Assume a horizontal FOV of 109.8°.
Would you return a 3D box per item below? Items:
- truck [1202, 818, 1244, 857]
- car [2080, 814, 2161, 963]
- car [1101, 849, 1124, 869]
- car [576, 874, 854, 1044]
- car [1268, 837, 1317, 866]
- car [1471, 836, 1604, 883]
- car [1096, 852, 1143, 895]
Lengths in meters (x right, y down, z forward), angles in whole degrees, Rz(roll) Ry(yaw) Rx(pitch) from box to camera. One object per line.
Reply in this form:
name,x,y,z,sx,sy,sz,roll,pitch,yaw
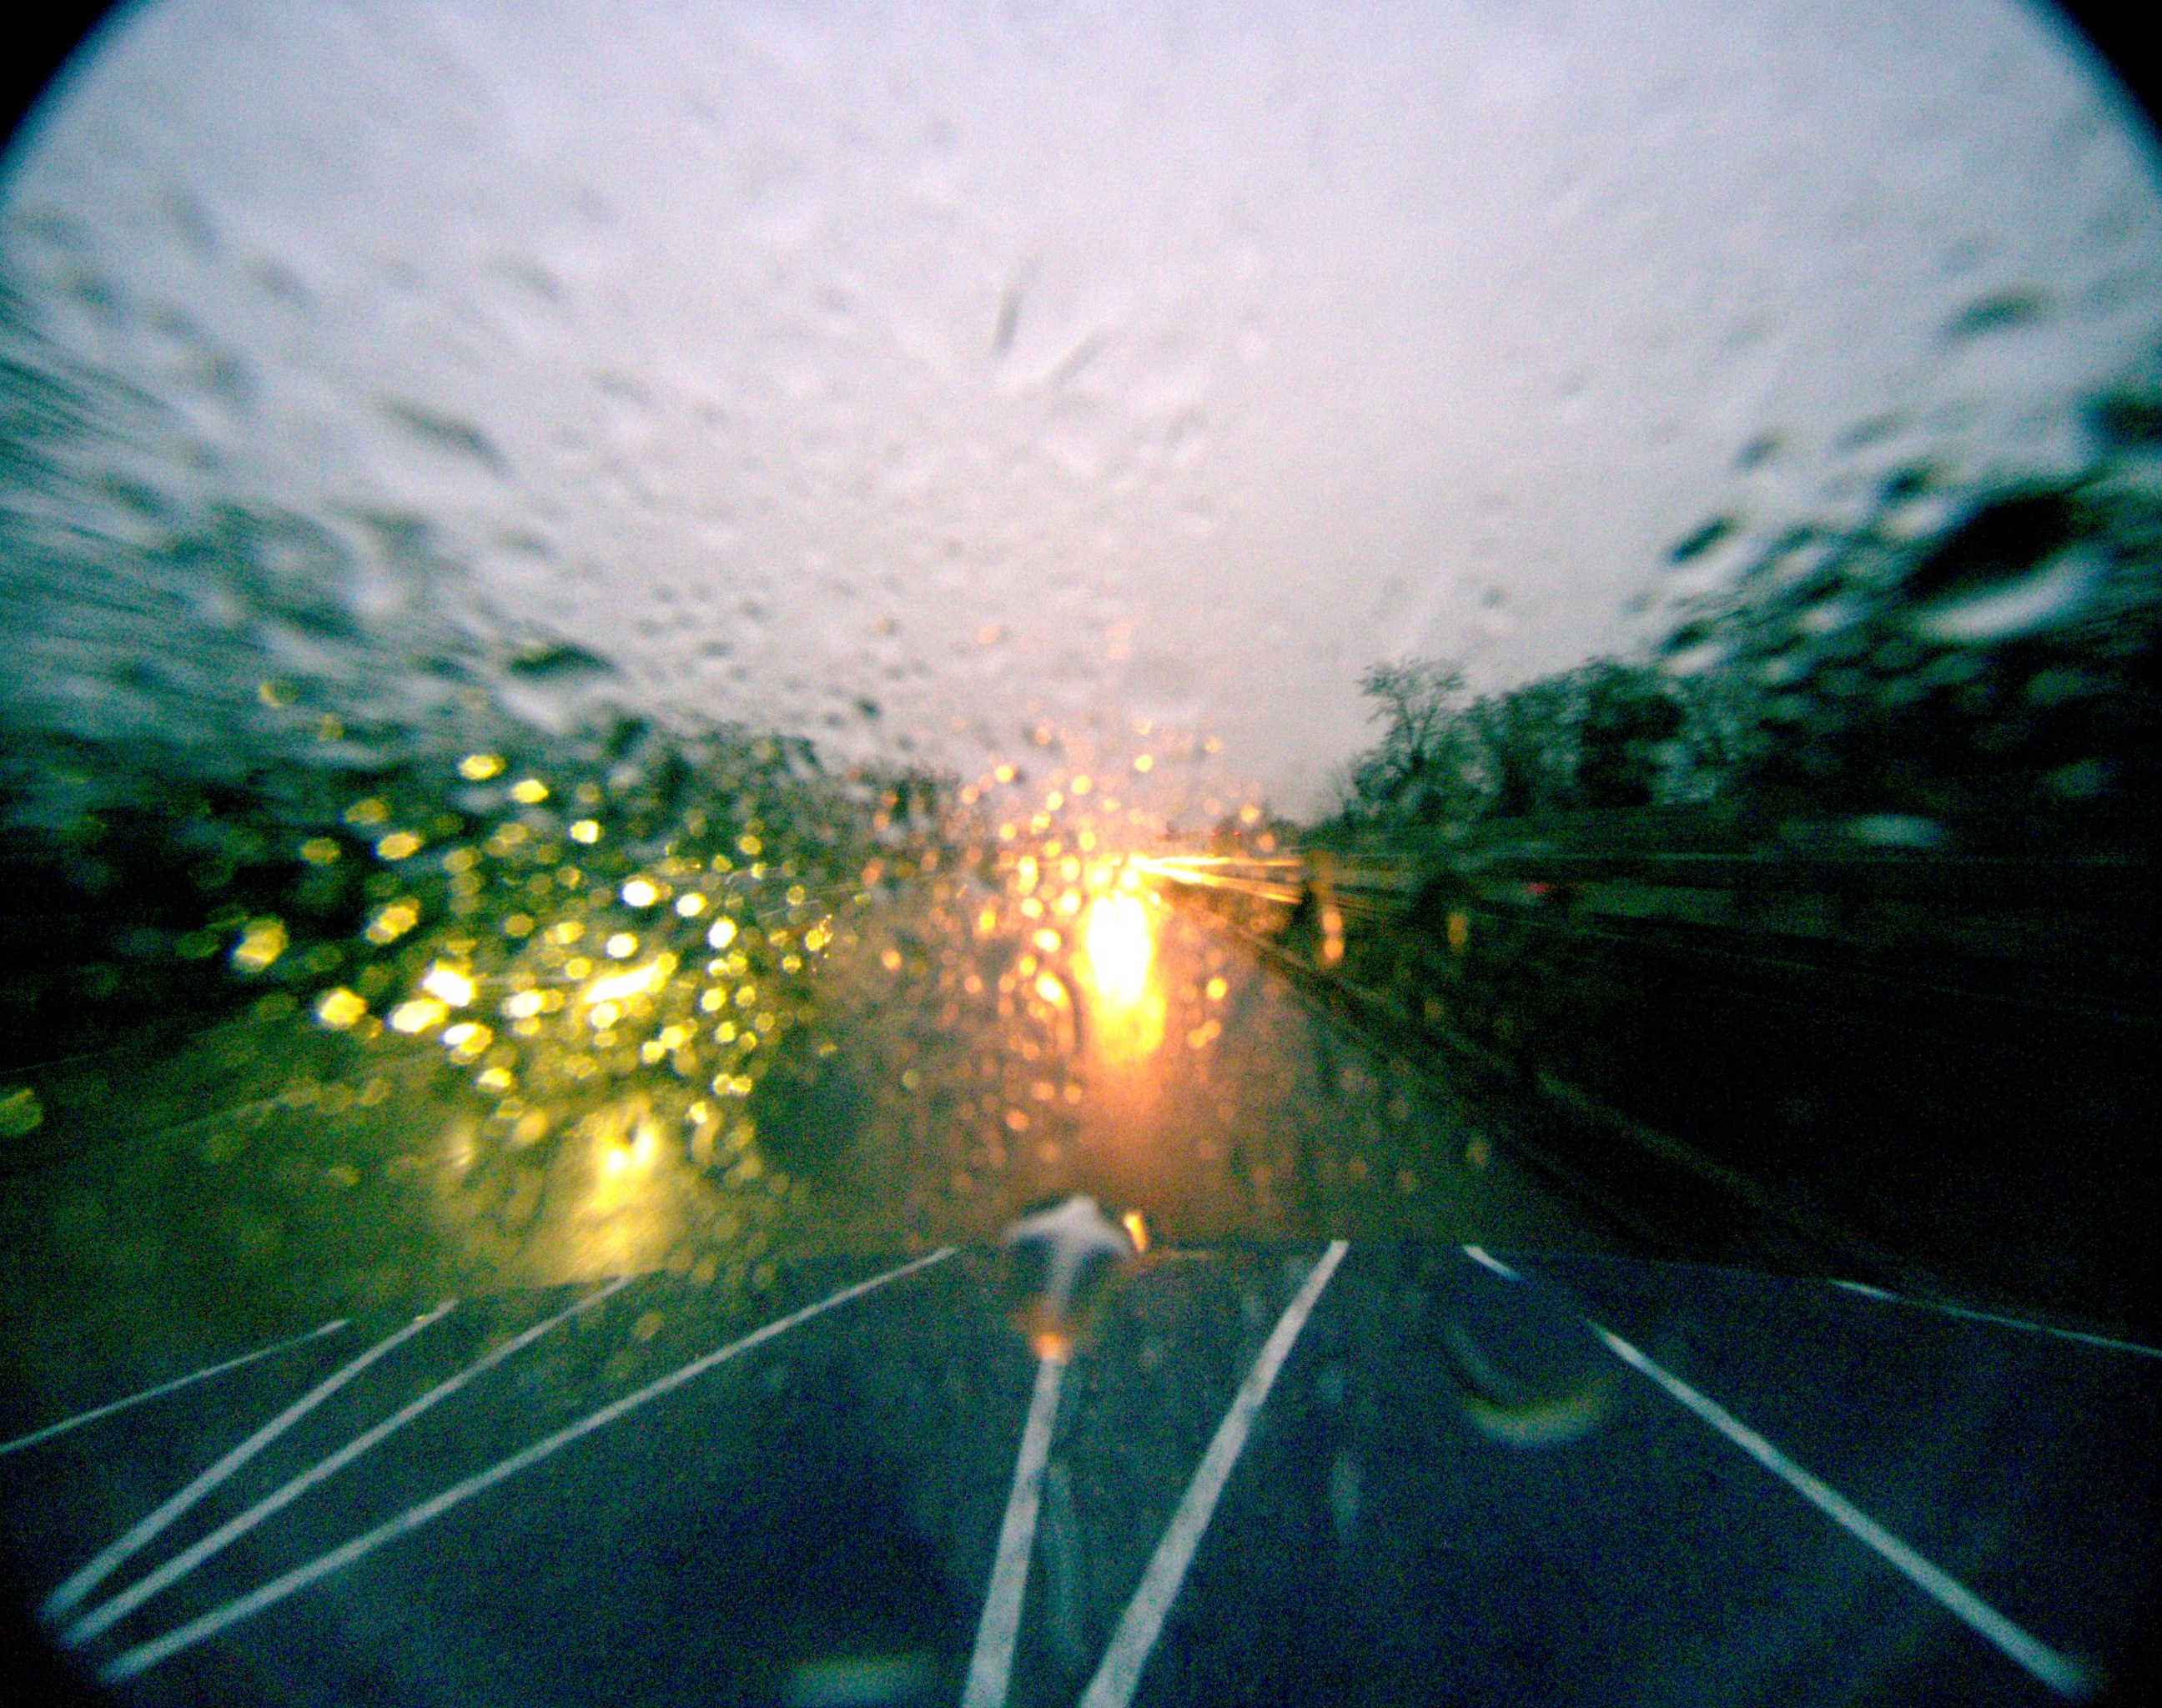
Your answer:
truck,15.089,-1.710,81.540,3.085,3.835,9.369,-2,1,2
car,11.891,0.339,6.161,1.998,1.505,4.283,-2,1,1
car,2.541,0.359,62.097,1.758,1.521,4.000,-2,1,1
car,-4.099,1.053,9.323,1.595,1.445,4.174,-2,0,-4
car,13.036,-0.150,47.038,1.998,1.639,4.000,-2,1,1
car,16.414,0.158,27.657,1.998,1.505,4.796,-2,1,1
car,1.504,0.747,31.035,1.758,1.521,4.000,-2,1,1
